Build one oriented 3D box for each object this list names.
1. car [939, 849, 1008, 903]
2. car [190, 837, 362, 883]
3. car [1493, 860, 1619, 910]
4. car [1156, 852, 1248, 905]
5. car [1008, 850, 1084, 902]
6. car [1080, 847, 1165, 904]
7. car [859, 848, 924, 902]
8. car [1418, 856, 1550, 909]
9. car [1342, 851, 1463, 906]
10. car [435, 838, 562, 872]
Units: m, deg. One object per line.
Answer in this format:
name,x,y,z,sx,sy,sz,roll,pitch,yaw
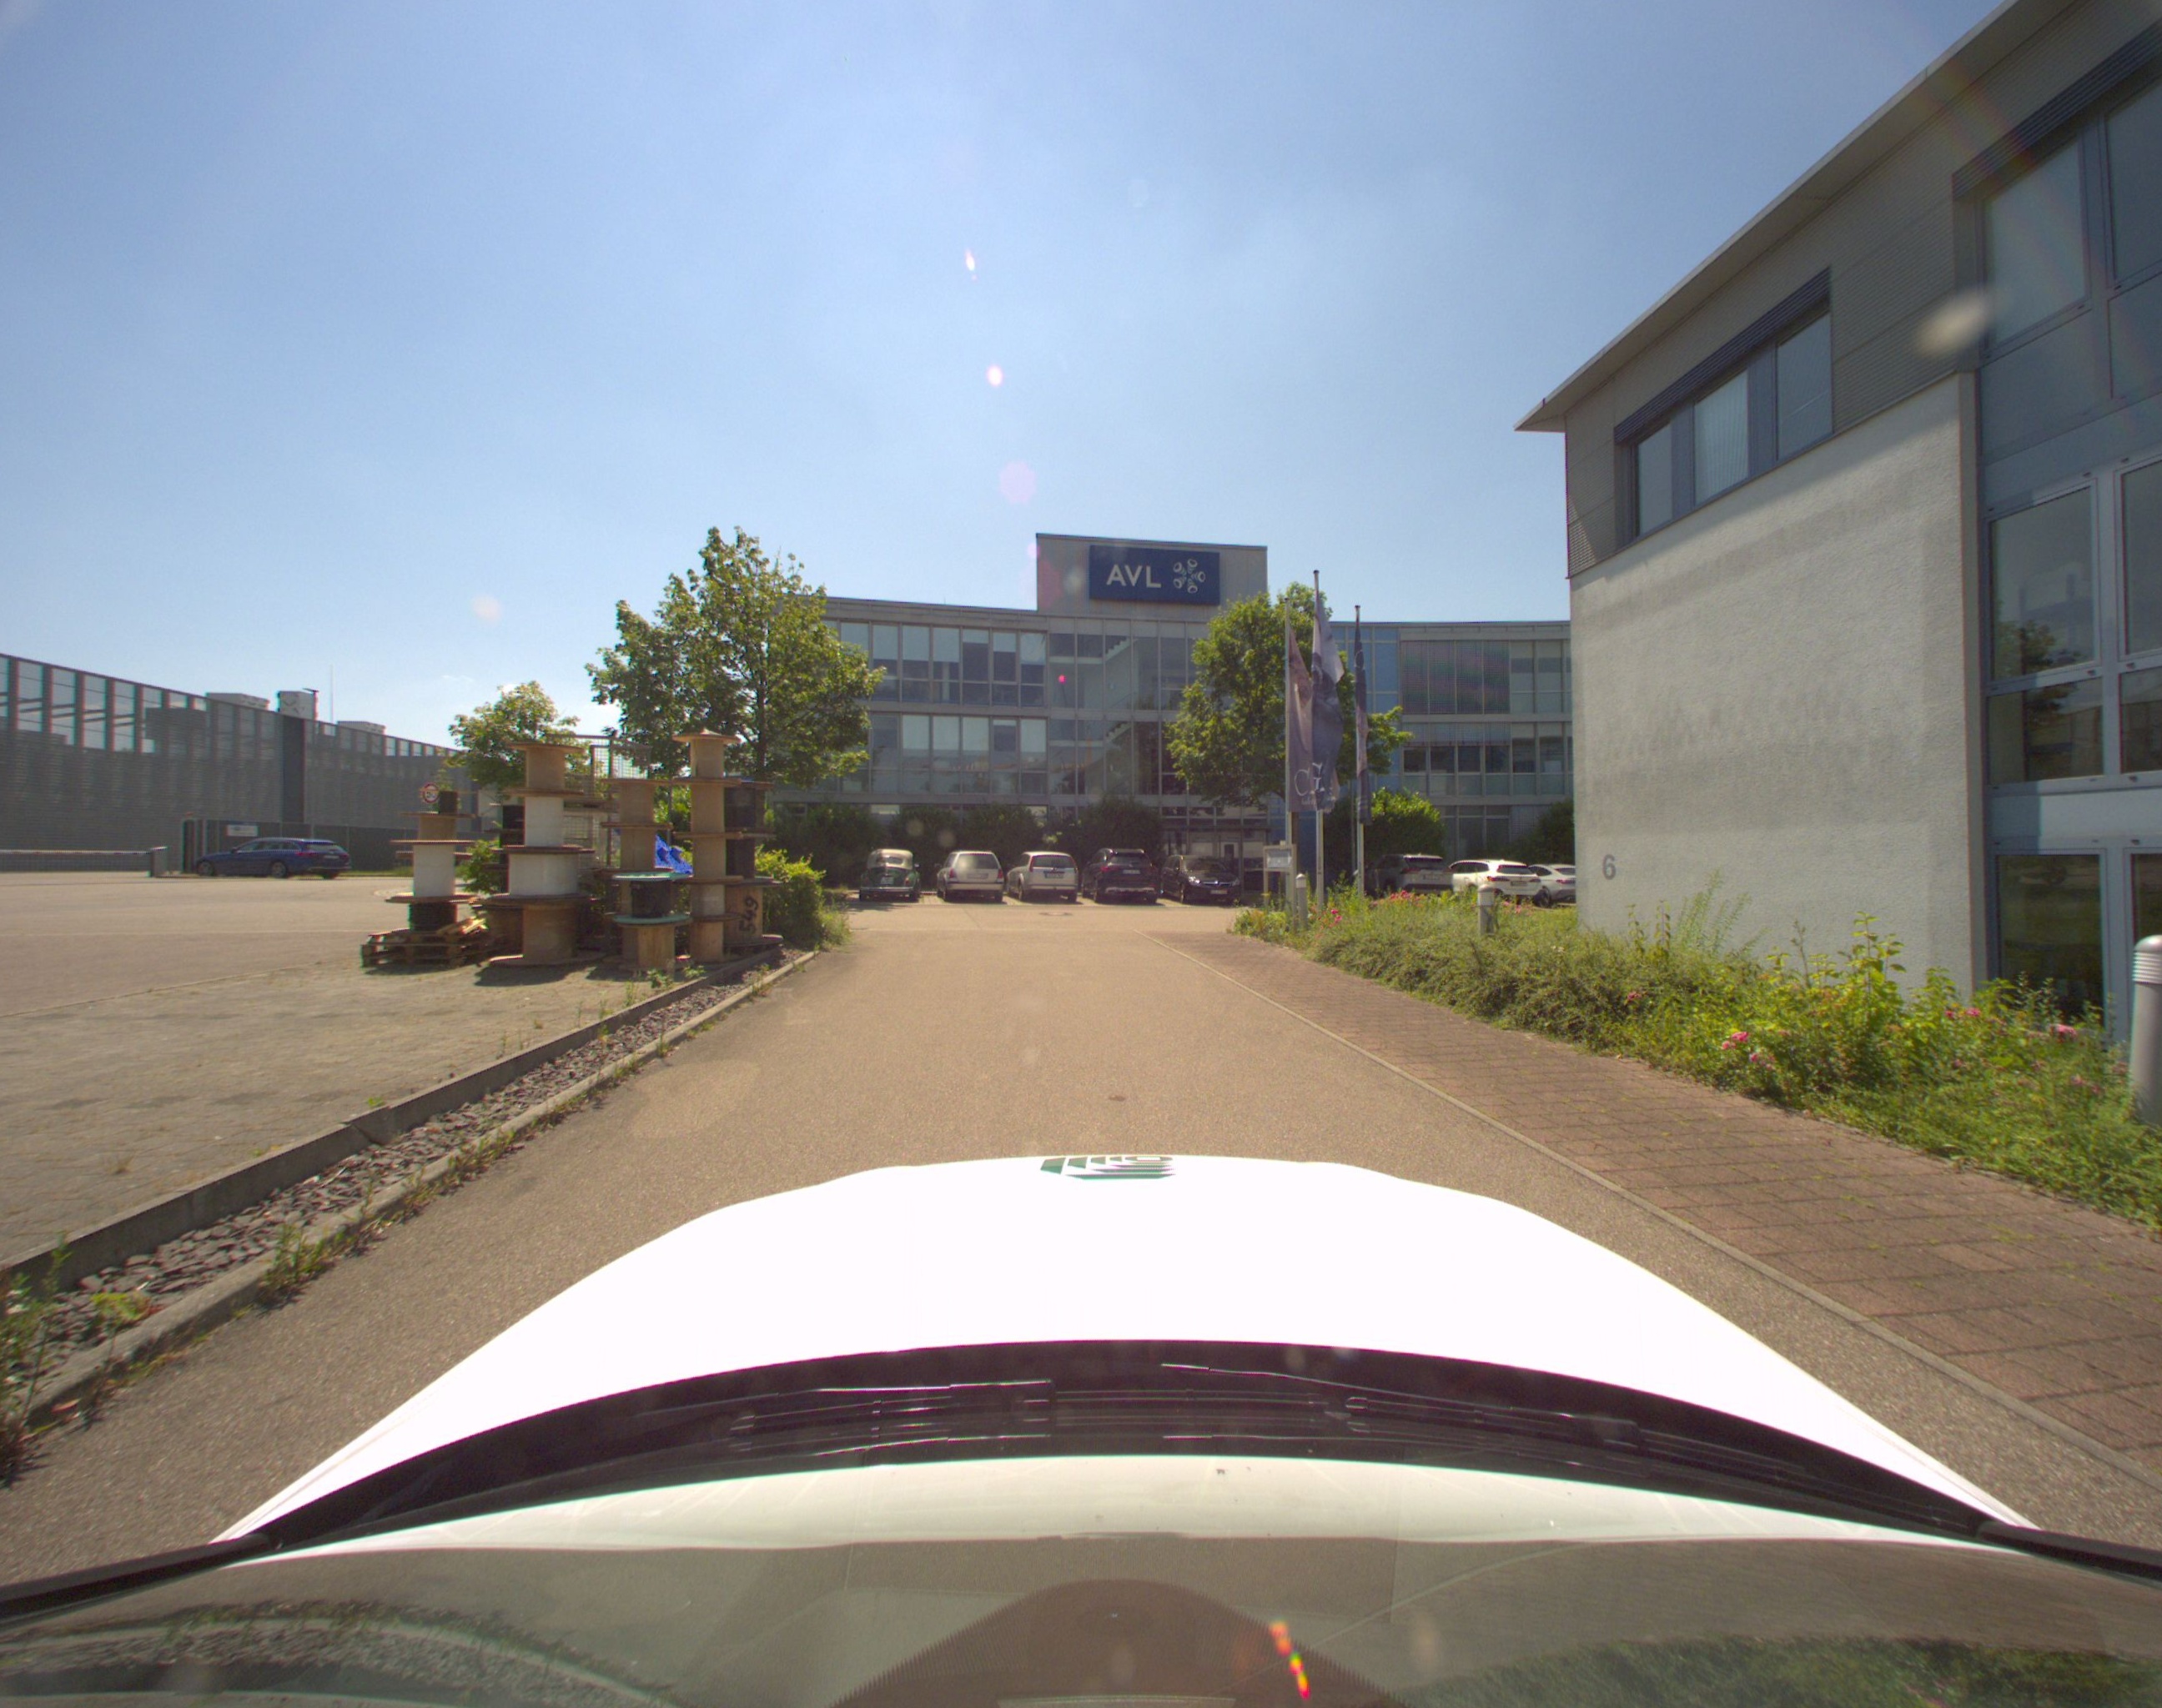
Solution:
car,-3.302,0.613,24.552,1.733,1.449,3.639,1,0,-12
car,-28.814,0.184,29.236,4.476,1.491,2.004,1,1,7
car,15.609,0.958,27.044,1.729,1.429,4.341,2,0,1
car,3.737,0.713,25.941,1.769,1.482,4.247,0,1,-8
car,-1.163,0.650,25.462,1.767,1.449,3.639,1,0,-12
car,1.208,0.611,25.672,1.926,1.610,3.975,1,0,-8
car,-5.489,0.562,23.952,1.541,1.449,3.643,1,0,-9
car,13.064,0.880,26.719,1.735,1.491,4.328,1,0,-8
car,10.445,0.737,26.806,1.818,1.619,4.328,0,1,-8
car,-27.861,0.051,39.014,4.813,1.491,2.004,1,1,7
